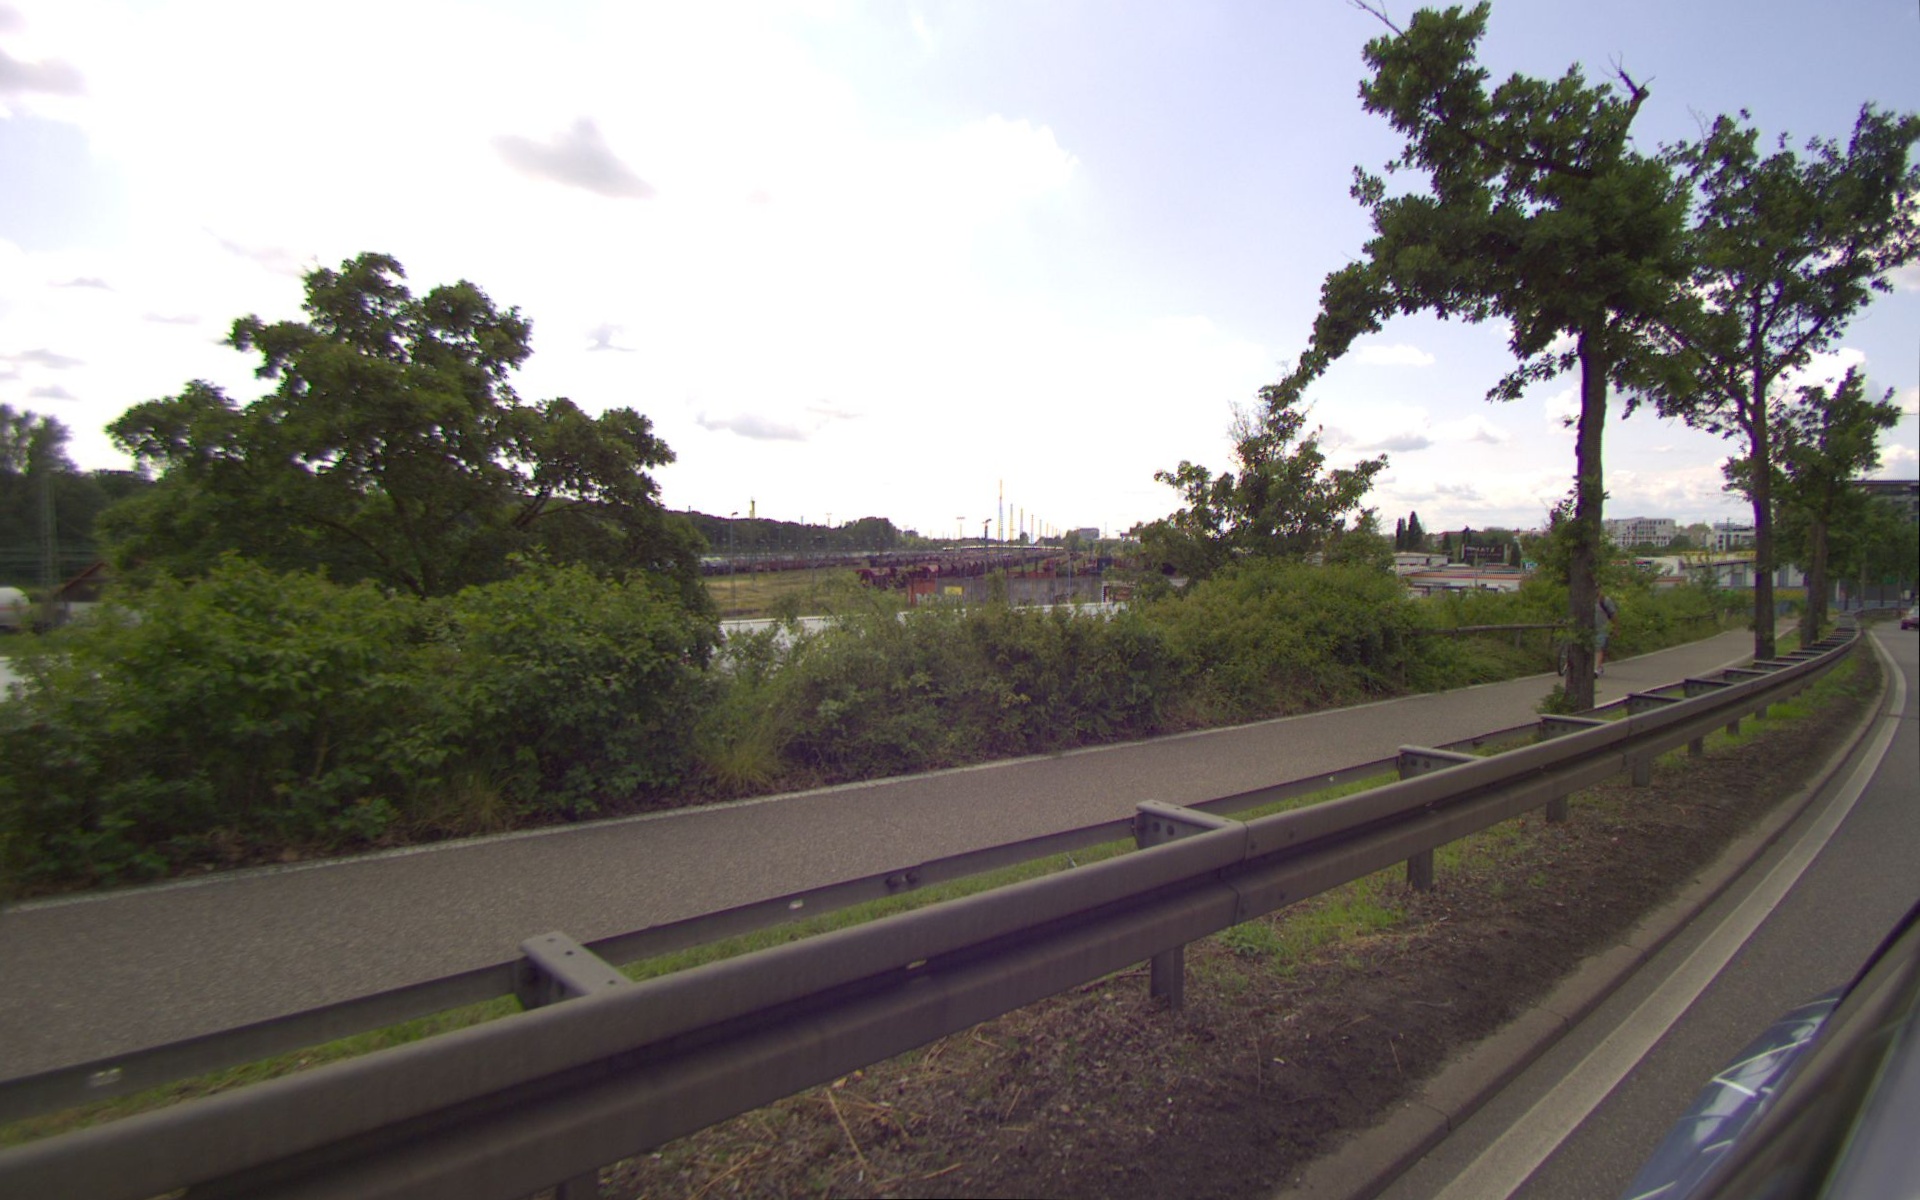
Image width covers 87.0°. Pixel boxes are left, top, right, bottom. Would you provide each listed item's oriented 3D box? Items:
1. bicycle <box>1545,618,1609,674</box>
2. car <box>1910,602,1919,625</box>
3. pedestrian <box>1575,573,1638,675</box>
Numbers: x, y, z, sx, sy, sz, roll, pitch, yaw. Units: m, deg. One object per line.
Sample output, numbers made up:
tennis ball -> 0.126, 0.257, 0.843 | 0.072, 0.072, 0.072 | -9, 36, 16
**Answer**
bicycle -> 10.796, 0.779, 17.685 | 0.556, 0.880, 1.797 | 4, 3, 44
car -> 51.534, 0.781, 53.143 | 1.838, 1.223, 3.947 | 4, 2, 36
pedestrian -> 11.014, 0.391, 17.244 | 0.657, 1.662, 1.038 | 3, 2, 44
